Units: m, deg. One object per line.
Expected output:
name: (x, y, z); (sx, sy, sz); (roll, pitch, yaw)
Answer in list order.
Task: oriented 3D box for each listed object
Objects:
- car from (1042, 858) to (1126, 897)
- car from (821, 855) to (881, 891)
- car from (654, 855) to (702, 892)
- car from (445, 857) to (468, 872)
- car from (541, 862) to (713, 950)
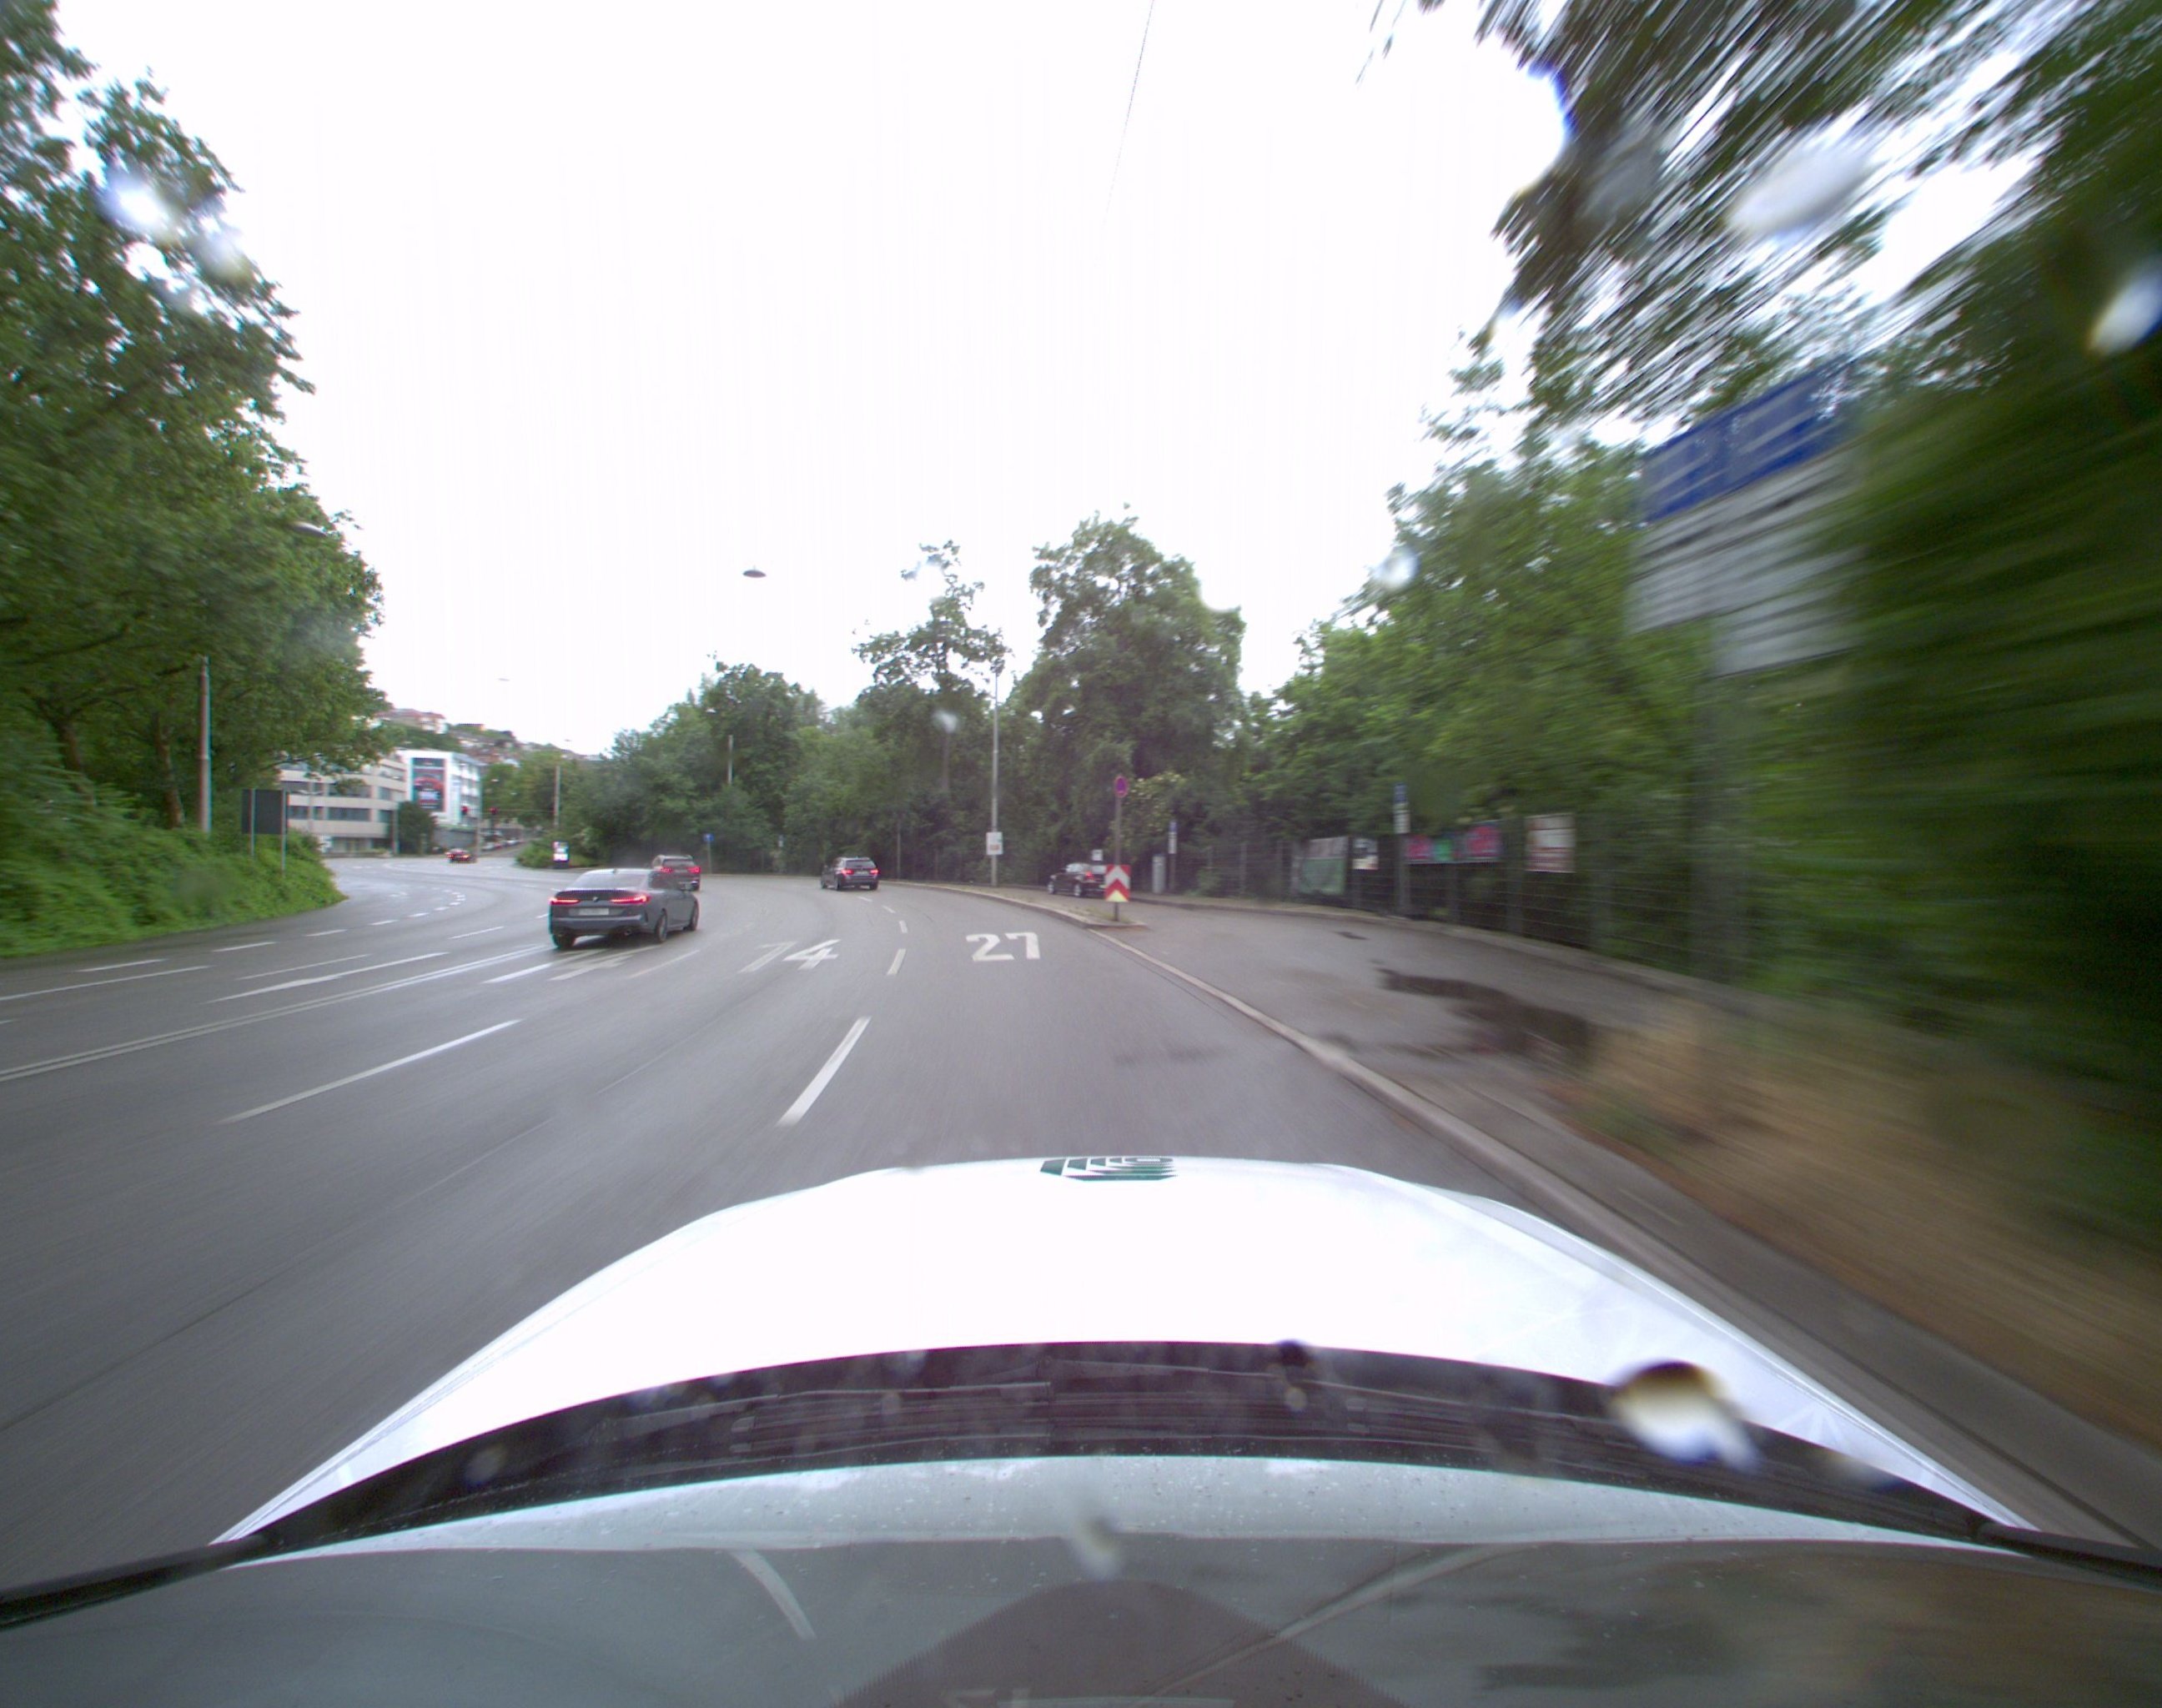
car: (0.042, 0.959, 34.018); (1.696, 1.426, 4.334); (3, -1, -26)
car: (-10.416, 0.894, 36.650); (1.767, 1.432, 4.374); (-2, -1, -26)
car: (-18.815, 0.868, 37.928); (1.768, 1.586, 4.371); (-1, 1, -29)
car: (-70.238, 1.116, 91.665); (1.843, 1.651, 3.957); (0, 0, -35)
car: (-8.921, 0.926, 16.458); (1.666, 1.415, 4.523); (1, 1, -11)
